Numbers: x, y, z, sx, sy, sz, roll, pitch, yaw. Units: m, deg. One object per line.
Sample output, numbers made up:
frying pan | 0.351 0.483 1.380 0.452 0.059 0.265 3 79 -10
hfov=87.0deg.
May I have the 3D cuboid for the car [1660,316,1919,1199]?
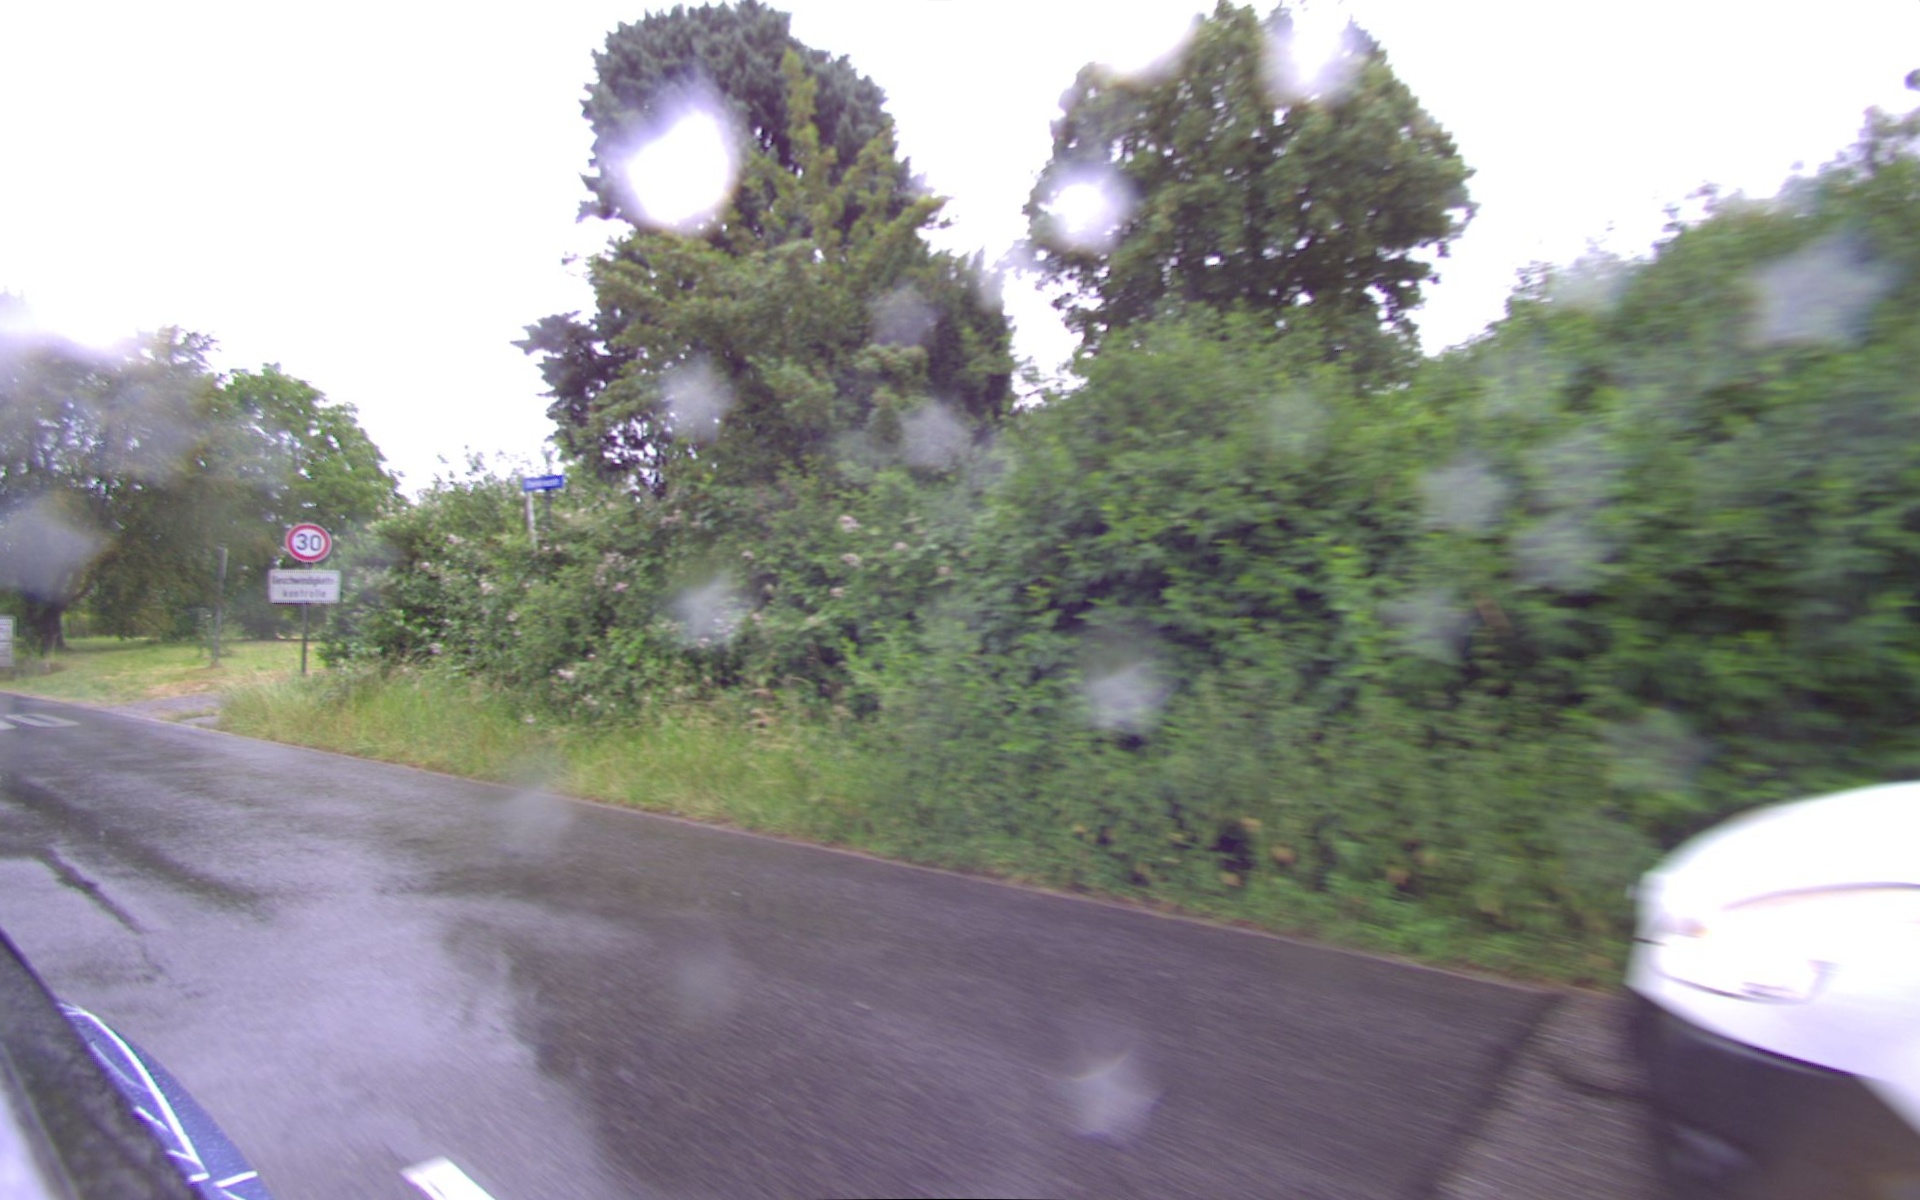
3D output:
car | 3.524 0.435 1.211 4.301 1.846 1.806 -2 -2 38
